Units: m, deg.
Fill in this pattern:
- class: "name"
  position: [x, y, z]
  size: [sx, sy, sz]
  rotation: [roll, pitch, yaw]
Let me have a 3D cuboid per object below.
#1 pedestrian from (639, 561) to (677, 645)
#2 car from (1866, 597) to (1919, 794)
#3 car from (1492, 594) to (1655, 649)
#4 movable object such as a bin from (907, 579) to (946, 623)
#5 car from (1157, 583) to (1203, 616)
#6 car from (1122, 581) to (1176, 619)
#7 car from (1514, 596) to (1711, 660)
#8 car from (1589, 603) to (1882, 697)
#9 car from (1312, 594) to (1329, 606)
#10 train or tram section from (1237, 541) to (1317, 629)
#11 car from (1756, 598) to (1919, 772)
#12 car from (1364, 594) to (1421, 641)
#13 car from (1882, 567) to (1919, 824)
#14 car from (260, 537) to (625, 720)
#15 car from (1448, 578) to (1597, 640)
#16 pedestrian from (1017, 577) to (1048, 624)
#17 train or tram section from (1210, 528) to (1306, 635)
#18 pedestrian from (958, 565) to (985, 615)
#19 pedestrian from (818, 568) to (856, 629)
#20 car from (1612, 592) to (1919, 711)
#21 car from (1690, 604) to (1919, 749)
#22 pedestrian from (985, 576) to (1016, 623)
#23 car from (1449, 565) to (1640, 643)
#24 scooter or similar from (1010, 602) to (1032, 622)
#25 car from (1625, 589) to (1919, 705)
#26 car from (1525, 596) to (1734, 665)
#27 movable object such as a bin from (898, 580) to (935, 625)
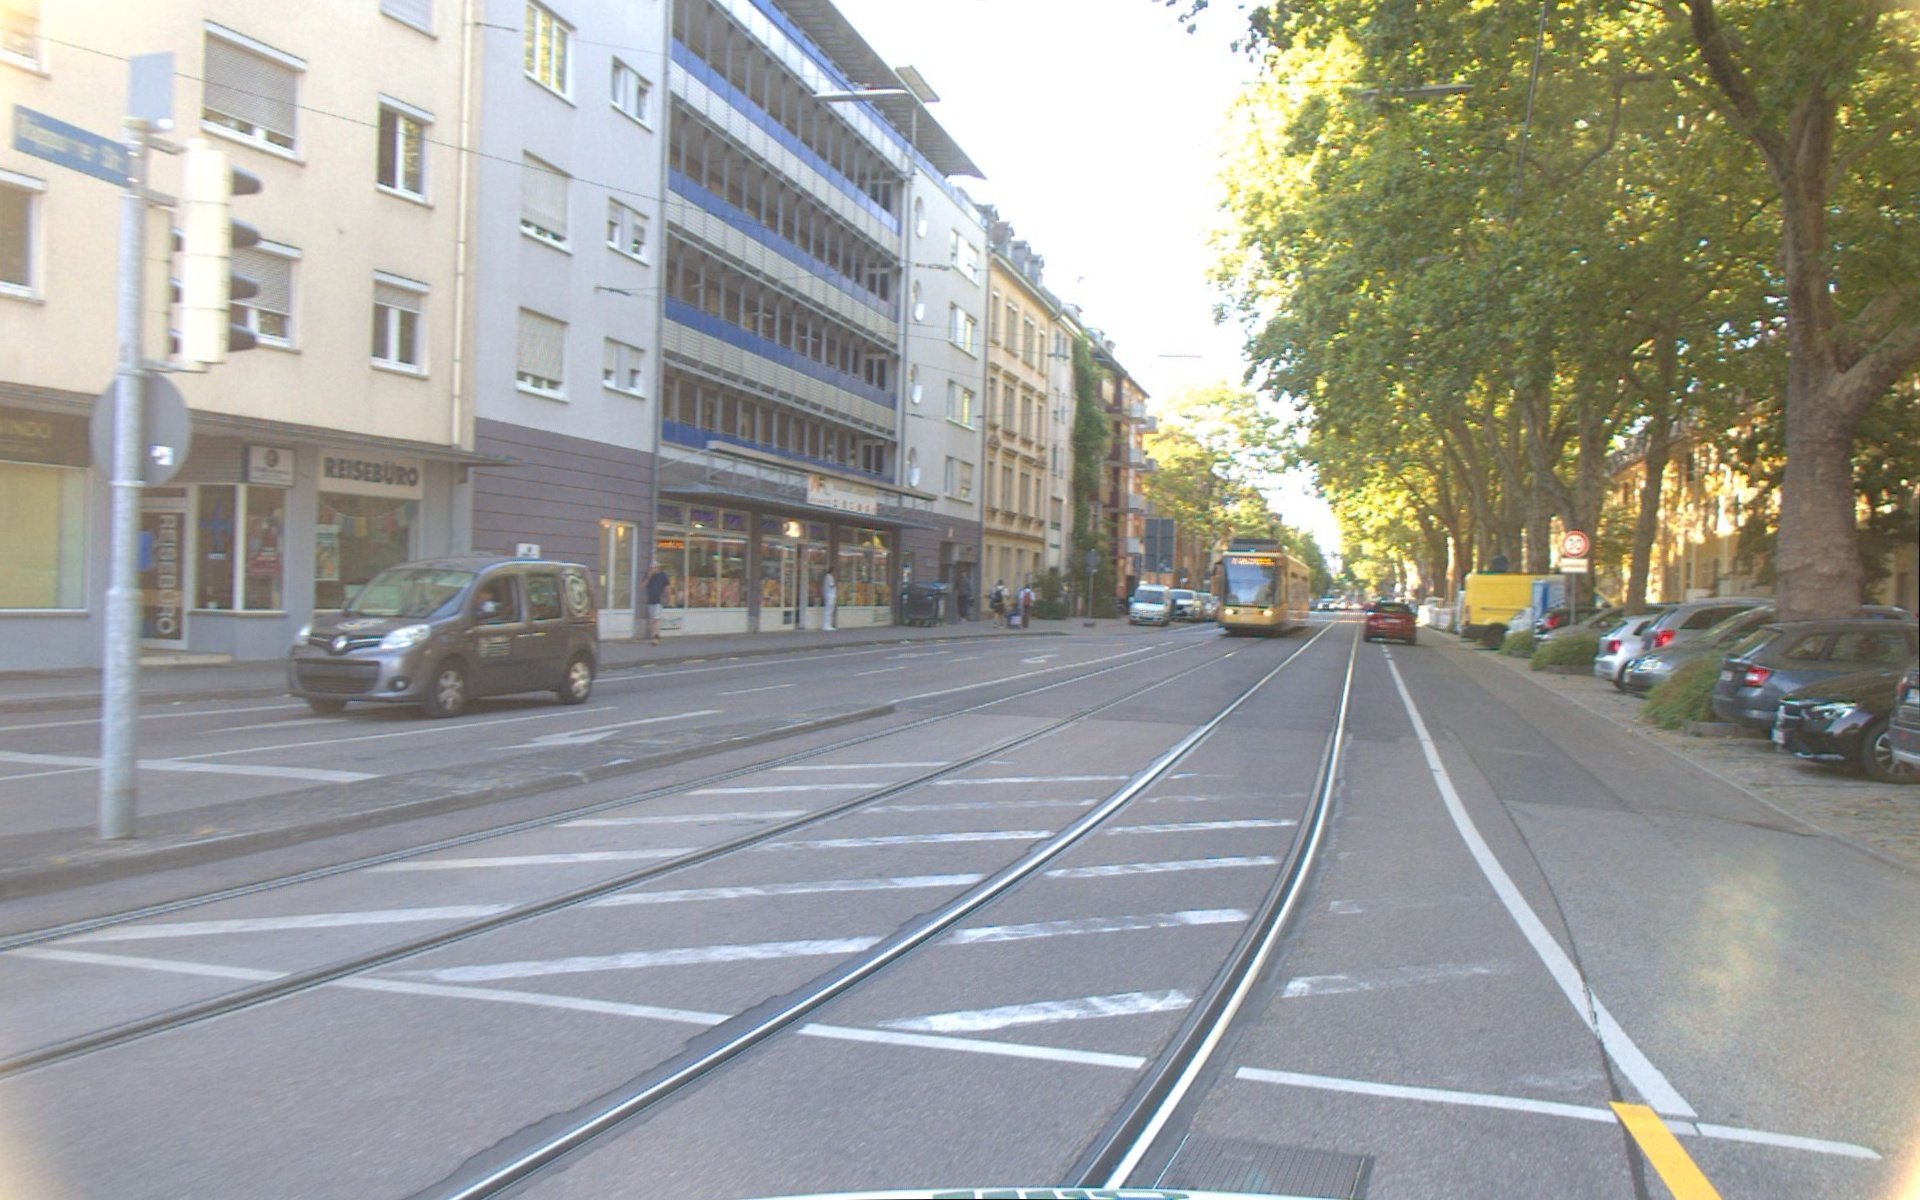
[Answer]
- class: "pedestrian"
  position: [-6.203, 0.058, 34.018]
  size: [0.649, 1.677, 0.625]
  rotation: [1, 0, -2]
- class: "car"
  position: [10.229, 0.848, 13.788]
  size: [4.314, 1.630, 1.944]
  rotation: [2, 0, 15]
- class: "car"
  position: [19.435, 0.662, 52.570]
  size: [4.612, 1.560, 1.921]
  rotation: [1, 0, 13]
- class: "movable object such as a bin"
  position: [-1.124, 0.041, 56.054]
  size: [0.991, 1.453, 1.257]
  rotation: [1, 0, 15]
- class: "car"
  position: [11.272, -0.033, 84.558]
  size: [1.853, 1.591, 4.396]
  rotation: [1, 0, 13]
- class: "car"
  position: [8.528, -0.016, 74.326]
  size: [1.853, 1.591, 4.396]
  rotation: [1, 0, 13]
- class: "car"
  position: [17.482, 0.722, 44.525]
  size: [4.611, 1.560, 1.921]
  rotation: [1, 0, 11]
- class: "car"
  position: [14.286, 0.885, 30.742]
  size: [4.612, 1.560, 1.921]
  rotation: [1, 0, 14]
- class: "car"
  position: [47.337, -0.009, 217.100]
  size: [1.951, 1.536, 4.004]
  rotation: [1, 1, 10]
- class: "train or tram section"
  position: [14.918, -0.677, 77.105]
  size: [2.772, 3.701, 12.827]
  rotation: [1, 0, 14]
- class: "car"
  position: [10.594, 0.841, 16.327]
  size: [4.612, 1.630, 1.921]
  rotation: [1, 0, 15]
- class: "car"
  position: [15.153, 0.631, 58.050]
  size: [1.853, 1.592, 4.396]
  rotation: [0, -1, 14]
- class: "car"
  position: [9.399, 0.693, 11.253]
  size: [5.109, 1.858, 1.932]
  rotation: [0, -1, 14]
- class: "car"
  position: [-5.817, 0.269, 19.227]
  size: [1.869, 1.838, 4.364]
  rotation: [1, 1, 17]
- class: "car"
  position: [21.871, 0.337, 64.570]
  size: [5.327, 2.230, 2.062]
  rotation: [2, 0, 15]
- class: "pedestrian"
  position: [2.609, 0.028, 59.239]
  size: [0.873, 1.652, 1.035]
  rotation: [1, 0, 14]
- class: "train or tram section"
  position: [11.801, -0.670, 64.475]
  size: [2.800, 3.701, 13.209]
  rotation: [1, 0, 14]
- class: "pedestrian"
  position: [0.444, -0.388, 64.068]
  size: [0.877, 1.896, 0.786]
  rotation: [1, 0, -13]
- class: "pedestrian"
  position: [-3.498, -0.049, 47.044]
  size: [1.009, 1.691, 1.226]
  rotation: [1, 0, -5]
- class: "car"
  position: [12.573, 0.749, 25.312]
  size: [4.612, 1.630, 1.921]
  rotation: [1, 0, 15]
- class: "car"
  position: [11.037, 0.875, 19.043]
  size: [4.487, 1.532, 1.921]
  rotation: [2, 0, 12]
- class: "pedestrian"
  position: [1.447, -0.011, 59.009]
  size: [0.873, 1.652, 1.035]
  rotation: [1, 0, 14]
- class: "car"
  position: [19.423, 0.119, 55.218]
  size: [5.820, 2.407, 2.062]
  rotation: [2, 0, 15]
- class: "scooter or similar"
  position: [2.149, 0.416, 58.427]
  size: [0.611, 0.659, 0.766]
  rotation: [1, 0, 14]
- class: "car"
  position: [13.700, 0.750, 27.545]
  size: [4.612, 1.752, 1.921]
  rotation: [1, 0, 14]
- class: "car"
  position: [16.879, 0.739, 41.932]
  size: [4.611, 1.560, 1.921]
  rotation: [1, 0, 12]
- class: "movable object such as a bin"
  position: [-1.422, 0.074, 54.647]
  size: [0.991, 1.453, 1.145]
  rotation: [1, 0, 10]
